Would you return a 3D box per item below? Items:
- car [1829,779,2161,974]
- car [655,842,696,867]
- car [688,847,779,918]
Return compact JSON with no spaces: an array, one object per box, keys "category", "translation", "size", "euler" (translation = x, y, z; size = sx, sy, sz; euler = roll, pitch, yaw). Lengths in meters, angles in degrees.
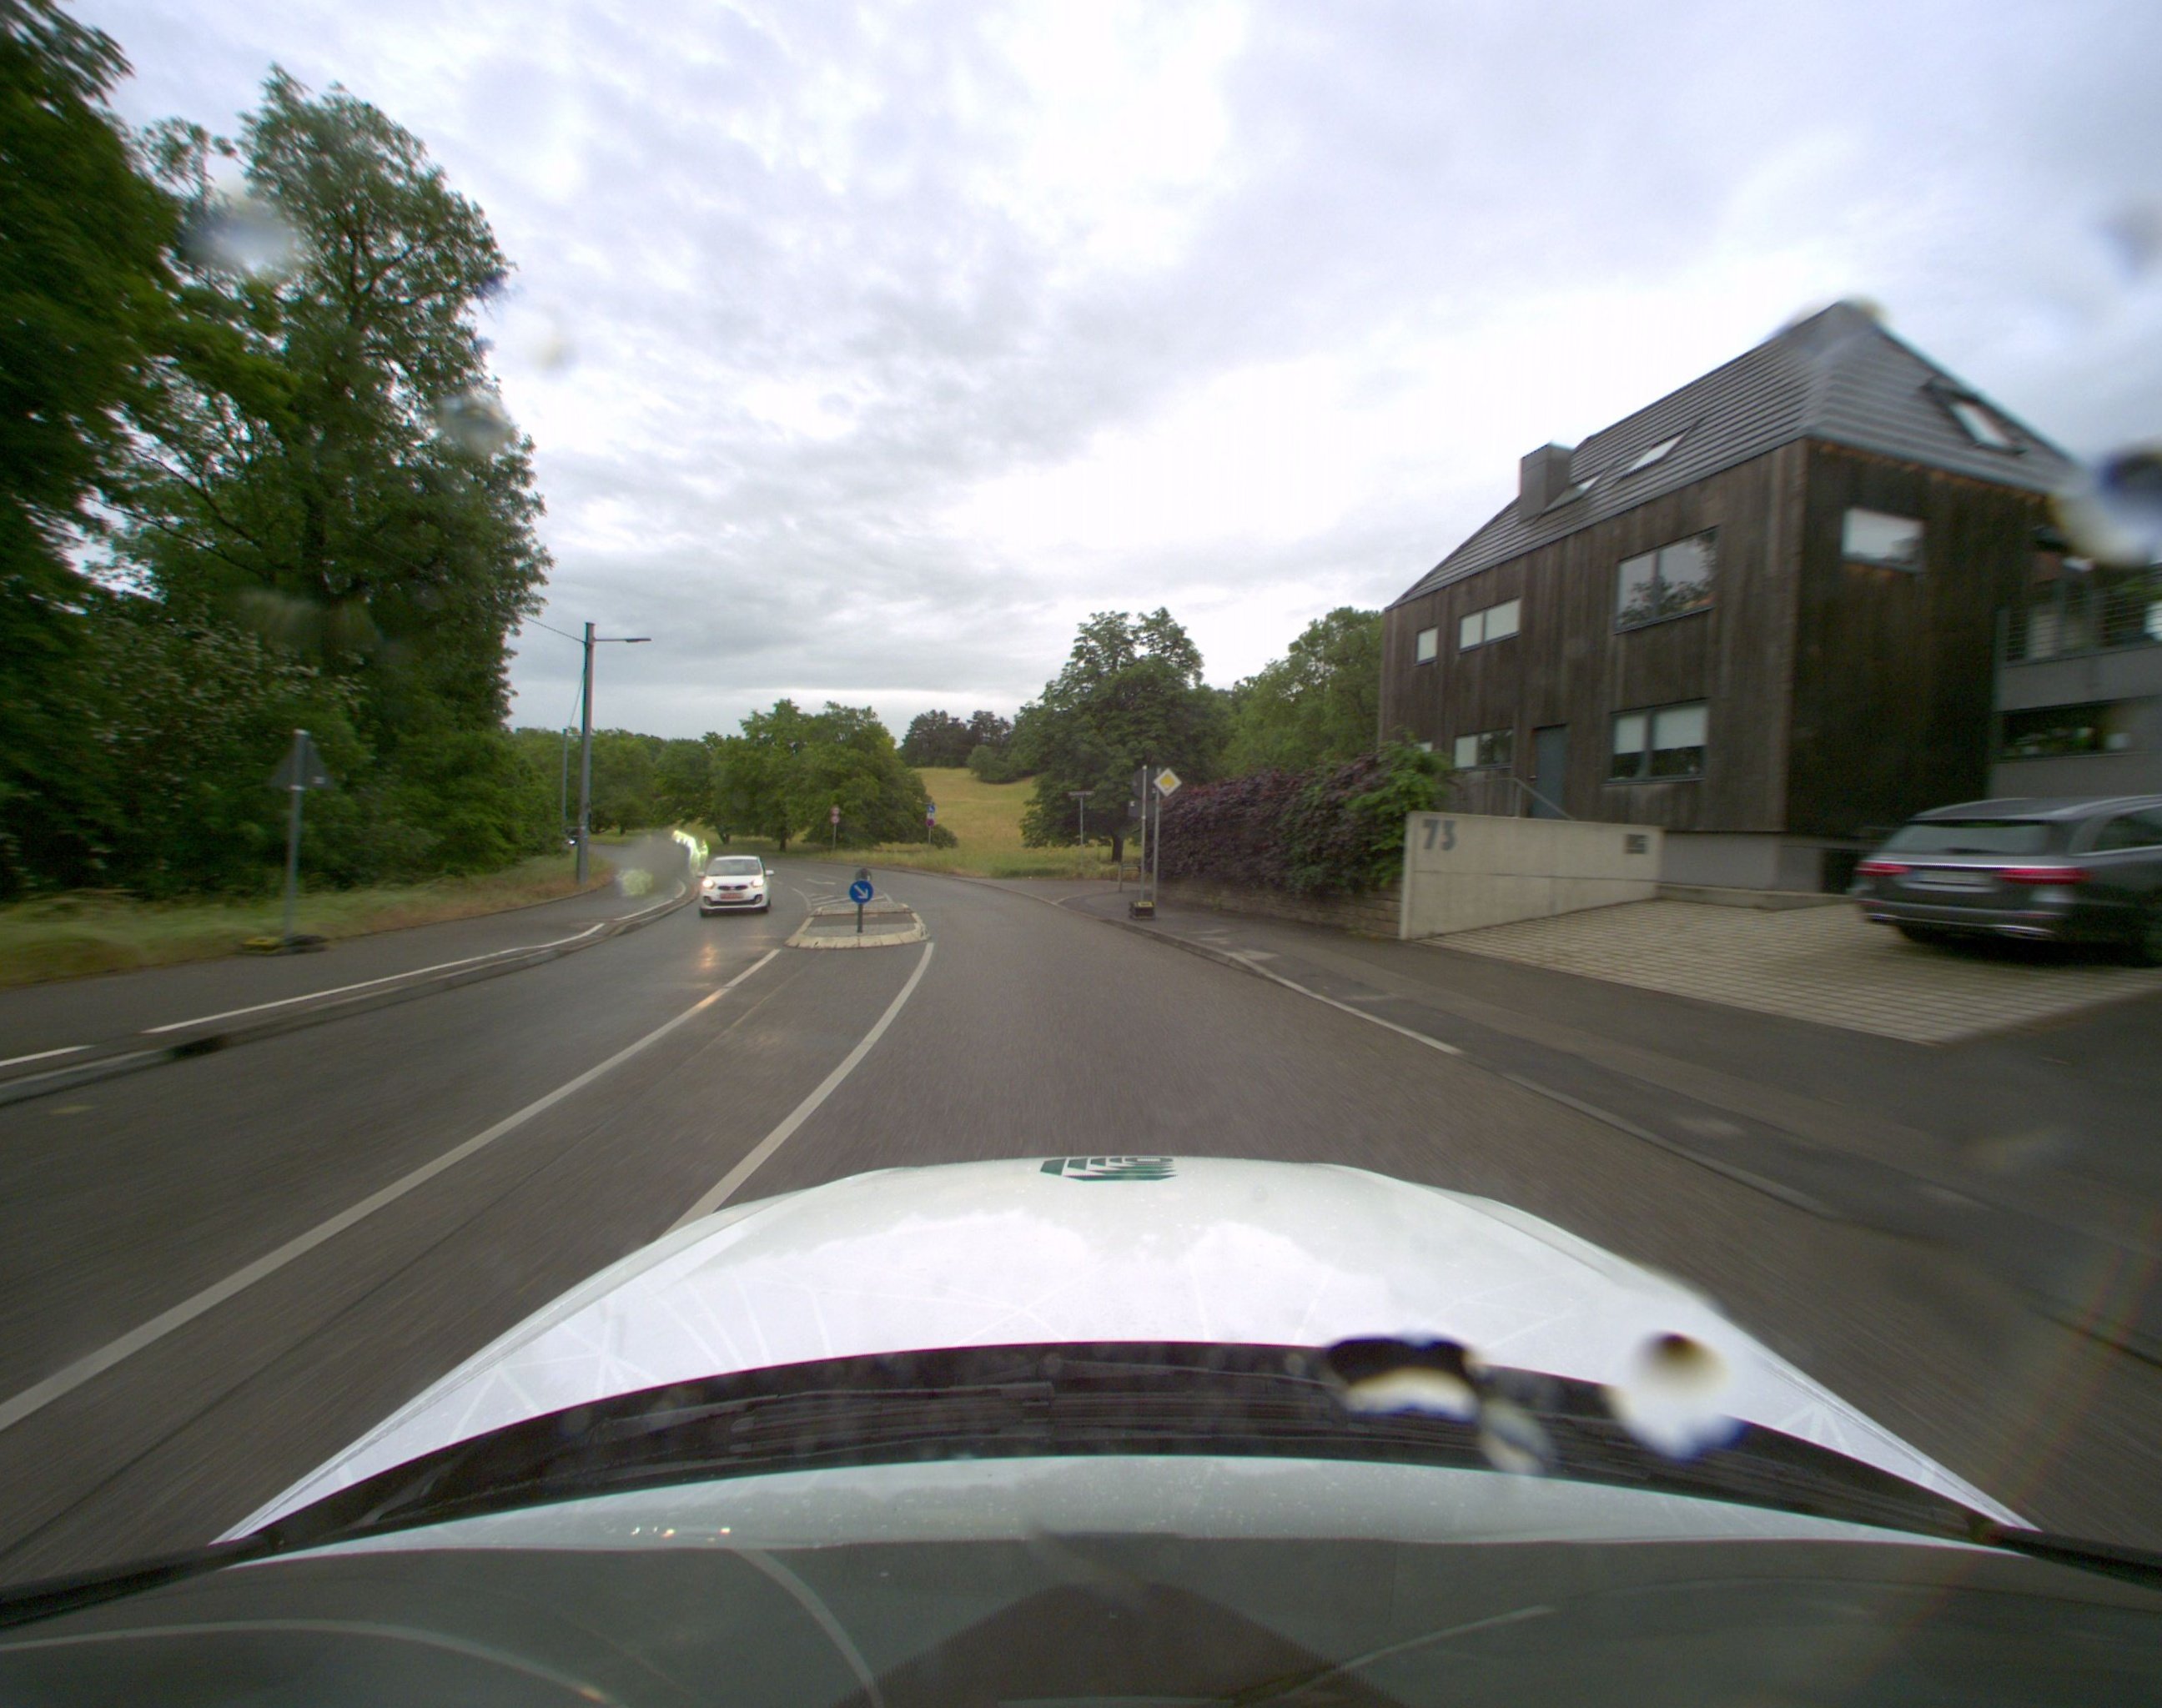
[{"category":"car","translation":[10.302,0.073,8.189],"size":[4.562,1.529,1.802],"euler":[-4,2,-12]},{"category":"car","translation":[-28.104,-0.005,56.366],"size":[1.829,1.595,3.956],"euler":[-1,2,-37]},{"category":"car","translation":[-9.143,0.663,21.714],"size":[1.798,1.485,3.977],"euler":[-3,3,-18]}]
